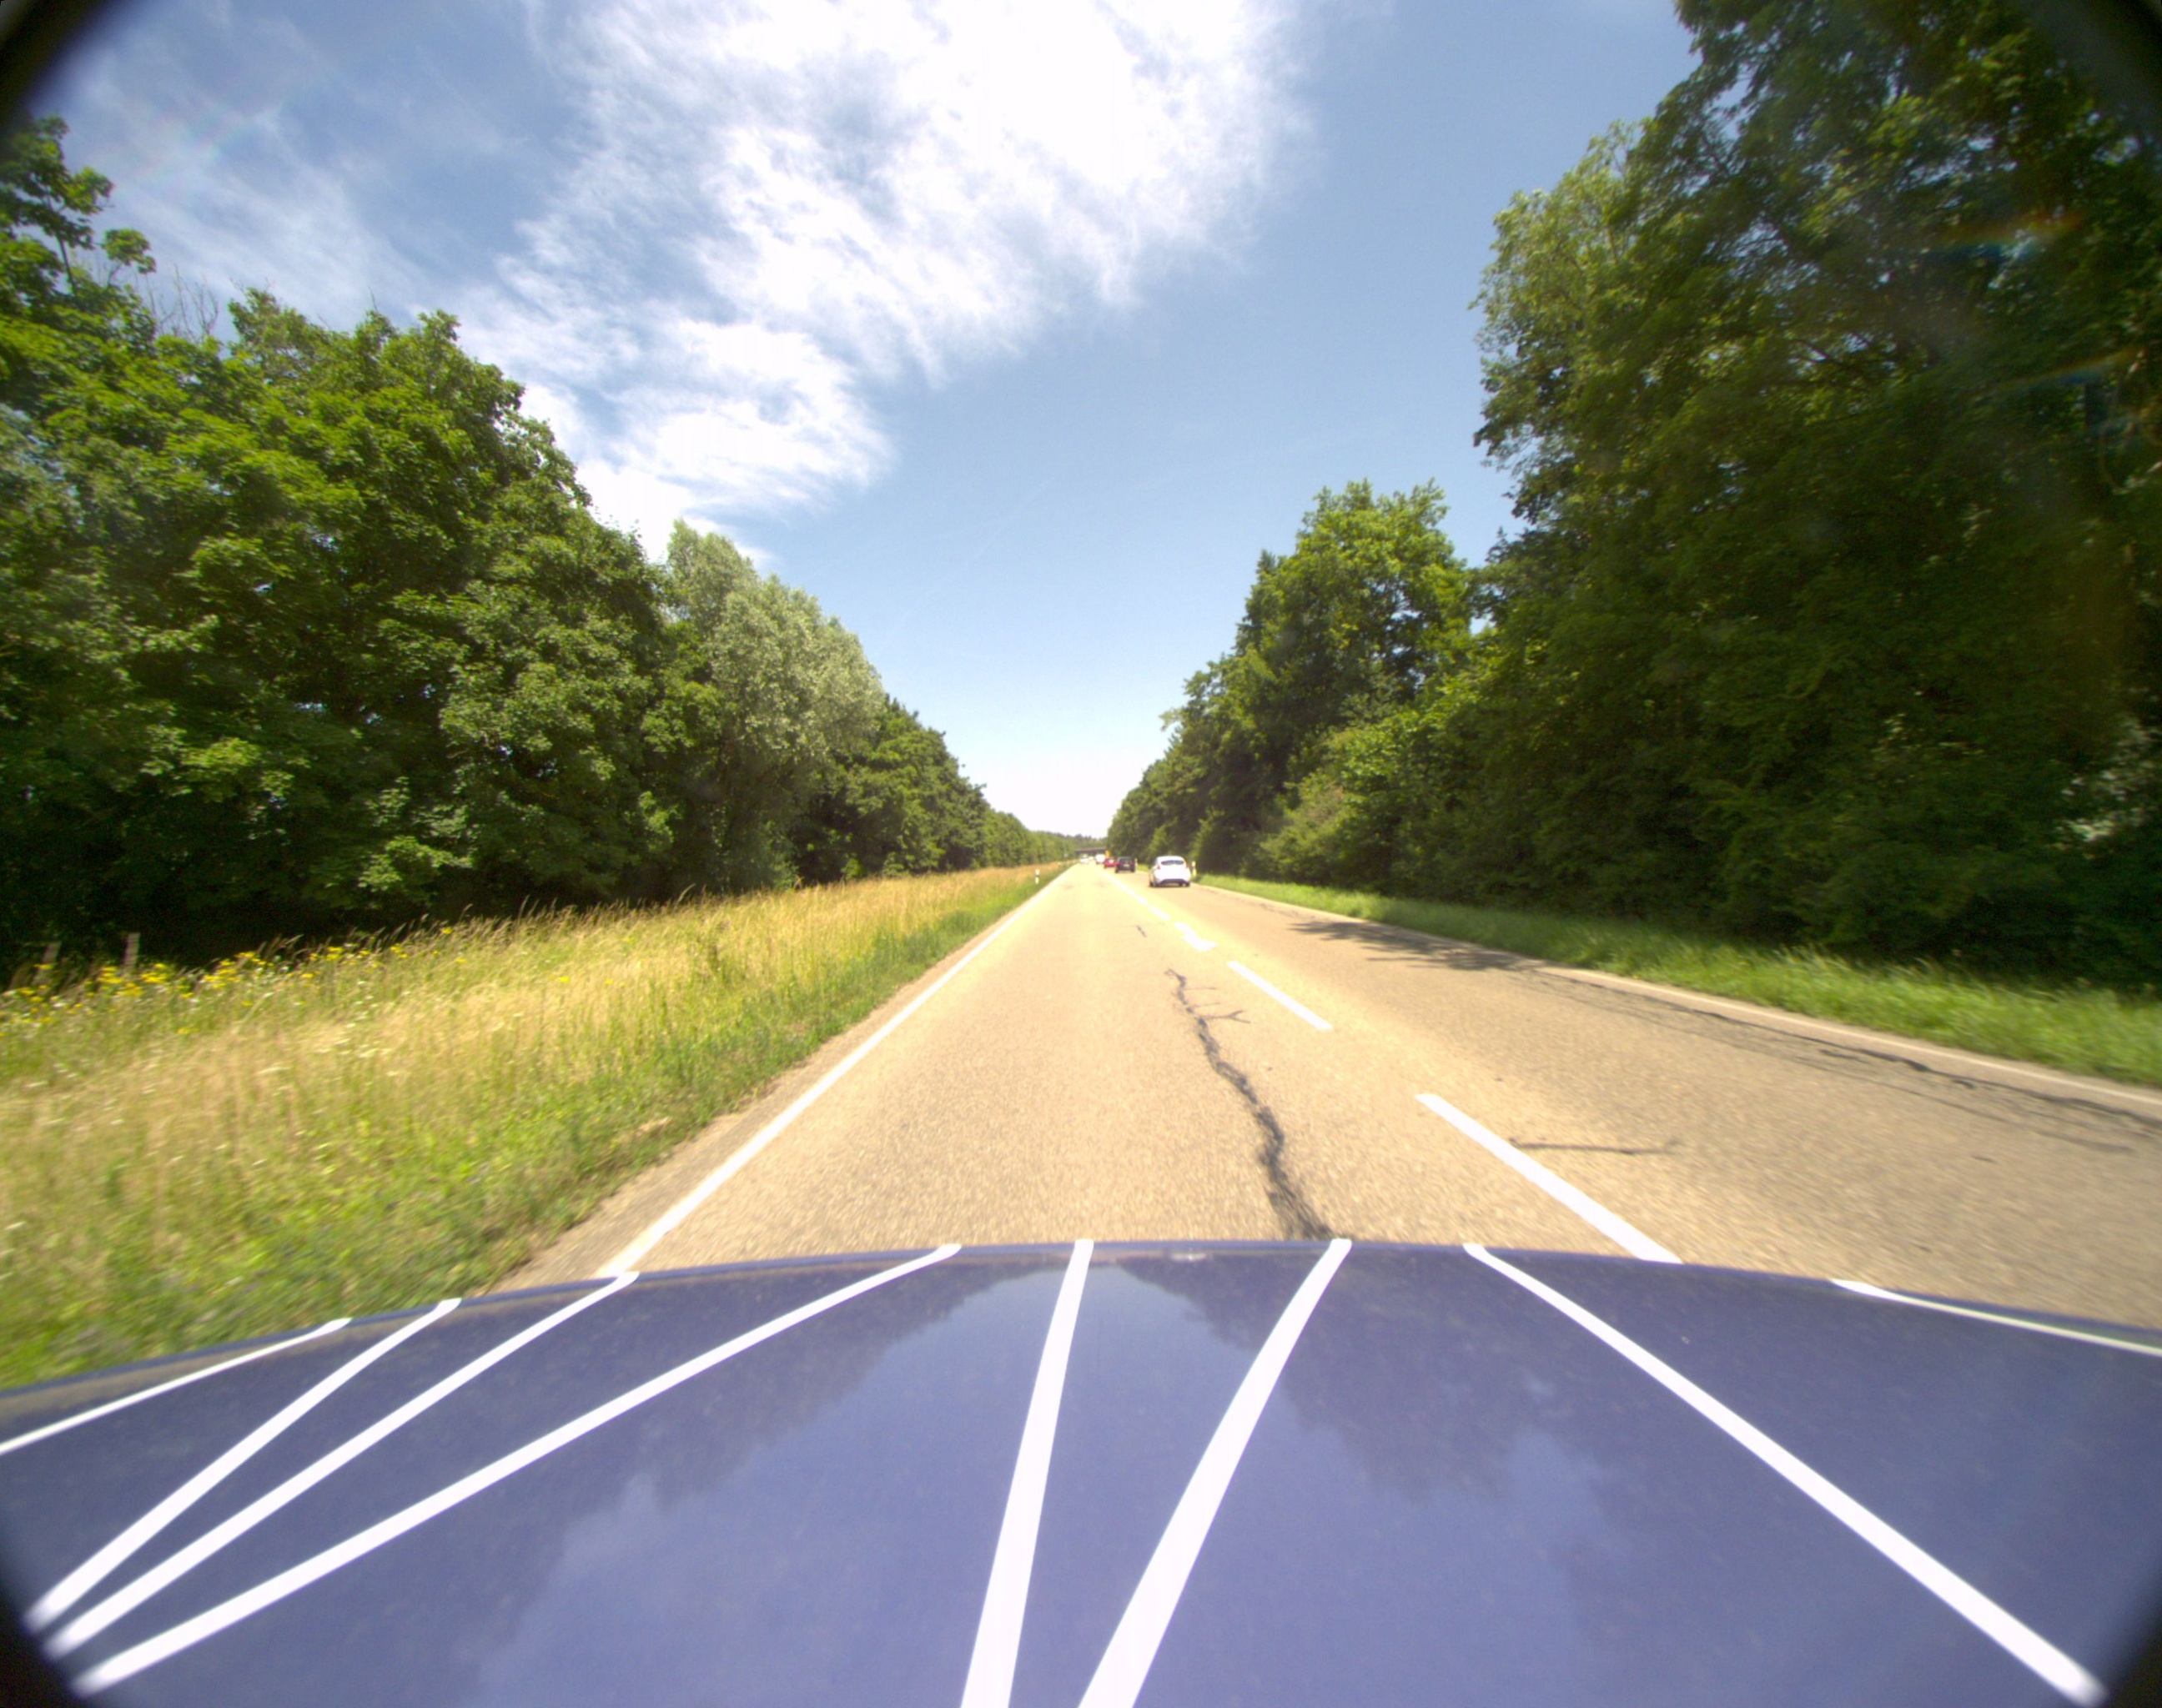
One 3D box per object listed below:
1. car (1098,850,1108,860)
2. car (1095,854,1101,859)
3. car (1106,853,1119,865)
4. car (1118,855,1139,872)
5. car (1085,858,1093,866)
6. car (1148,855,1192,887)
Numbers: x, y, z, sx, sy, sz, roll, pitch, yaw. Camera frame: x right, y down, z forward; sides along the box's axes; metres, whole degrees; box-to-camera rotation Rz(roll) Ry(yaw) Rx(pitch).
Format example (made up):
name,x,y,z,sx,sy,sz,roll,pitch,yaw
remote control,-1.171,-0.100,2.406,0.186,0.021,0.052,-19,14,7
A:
name,x,y,z,sx,sy,sz,roll,pitch,yaw
car,4.625,0.222,161.818,1.880,1.917,4.987,-2,0,0
car,5.422,0.751,247.098,1.870,1.615,4.200,-2,0,0
car,4.179,0.635,101.513,1.686,1.484,4.000,-2,0,2
car,4.453,0.863,71.812,1.788,1.441,4.110,-2,0,2
car,1.967,1.850,184.476,1.865,1.747,3.999,-3,0,0
car,4.297,0.768,37.105,1.682,1.425,3.772,-2,0,1
